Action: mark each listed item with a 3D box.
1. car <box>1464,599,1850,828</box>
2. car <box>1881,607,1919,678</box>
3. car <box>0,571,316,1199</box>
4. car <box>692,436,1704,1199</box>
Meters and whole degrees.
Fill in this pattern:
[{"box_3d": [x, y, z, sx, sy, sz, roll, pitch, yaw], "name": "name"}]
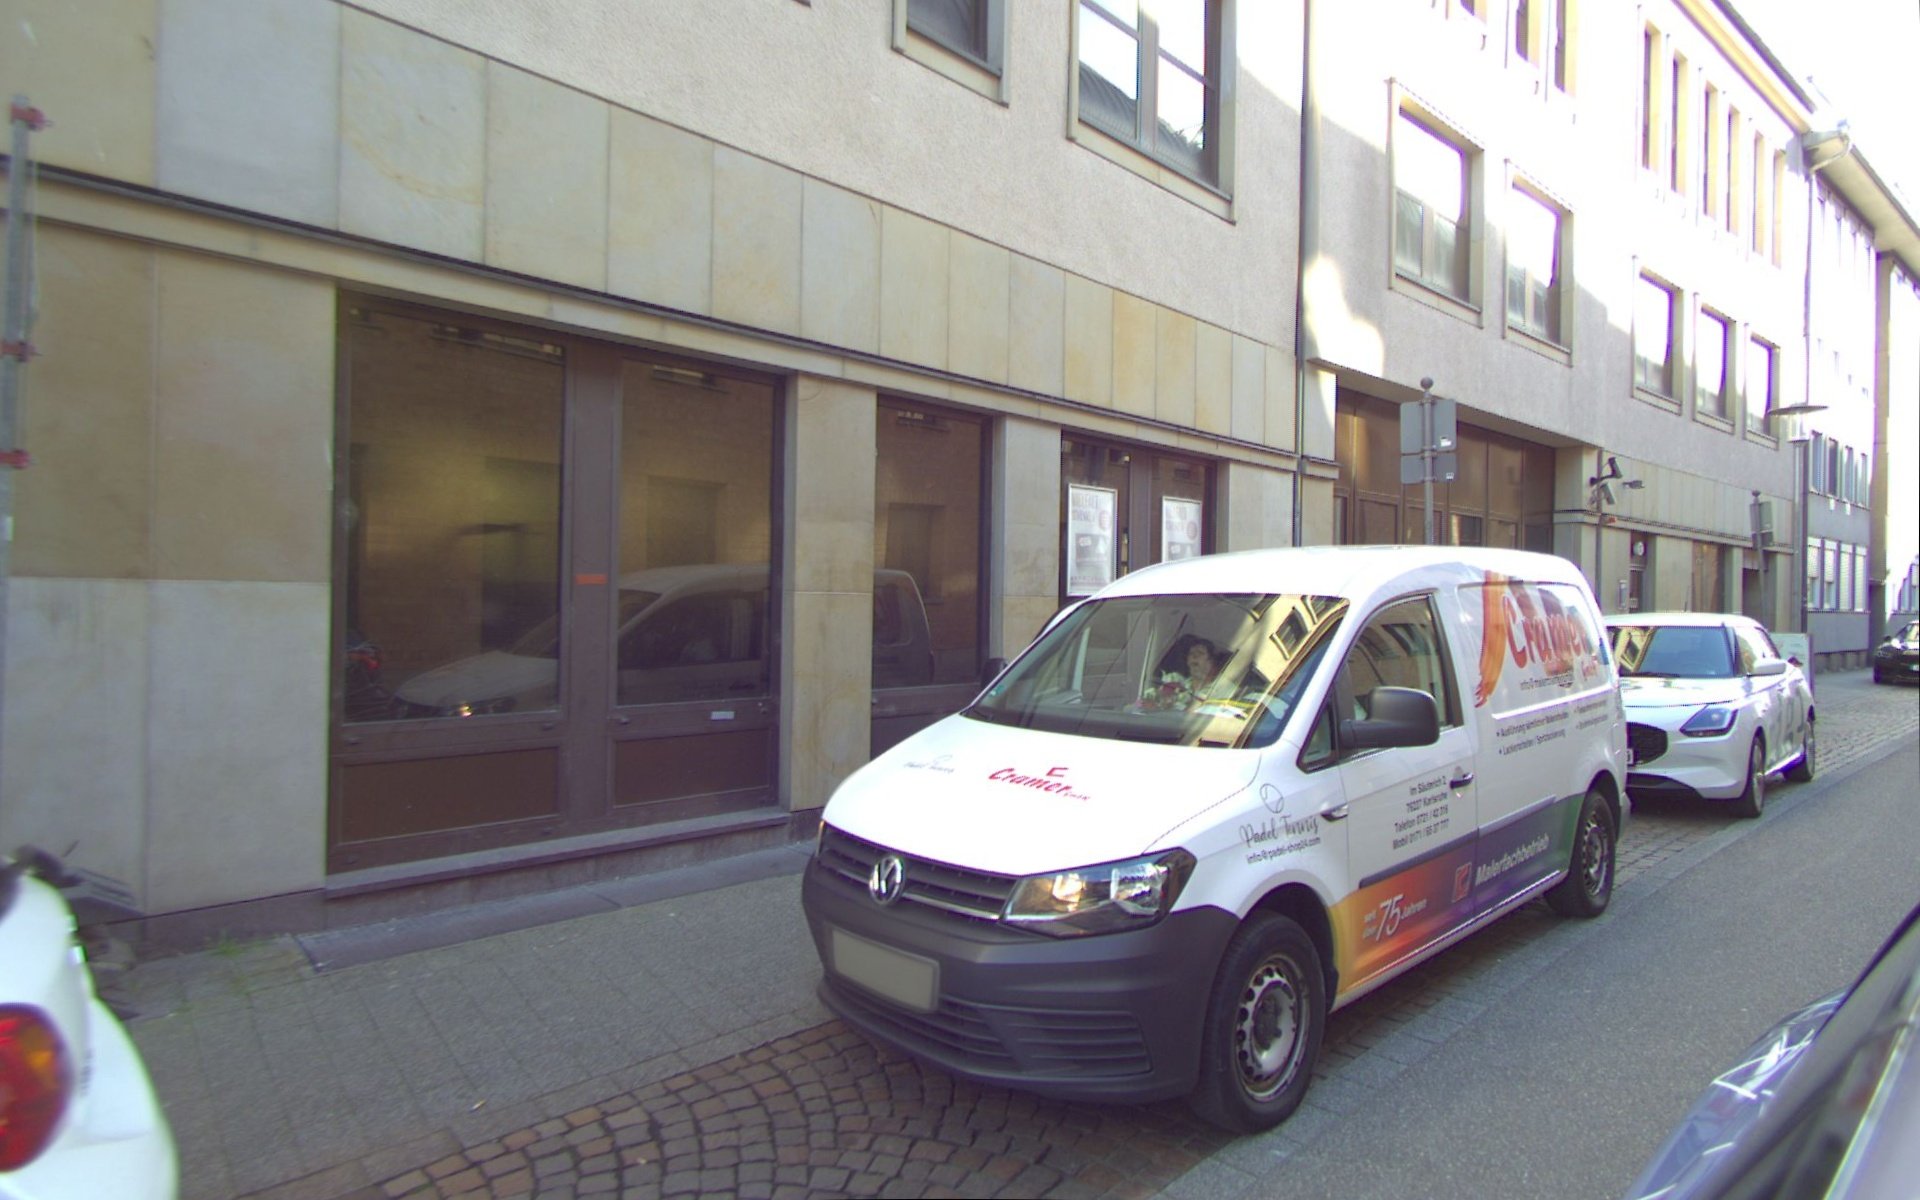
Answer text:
[{"box_3d": [6.136, 0.785, 8.721, 4.096, 1.497, 1.842, 1, -2, -43], "name": "car"}, {"box_3d": [21.982, 0.892, 22.102, 5.129, 1.472, 1.898, 1, -1, -38], "name": "car"}, {"box_3d": [-2.929, 0.724, 0.573, 1.888, 1.537, 3.999, 0, 0, 43], "name": "car"}, {"box_3d": [1.577, 0.575, 4.524, 5.124, 1.814, 1.833, 0, -1, -42], "name": "car"}]
